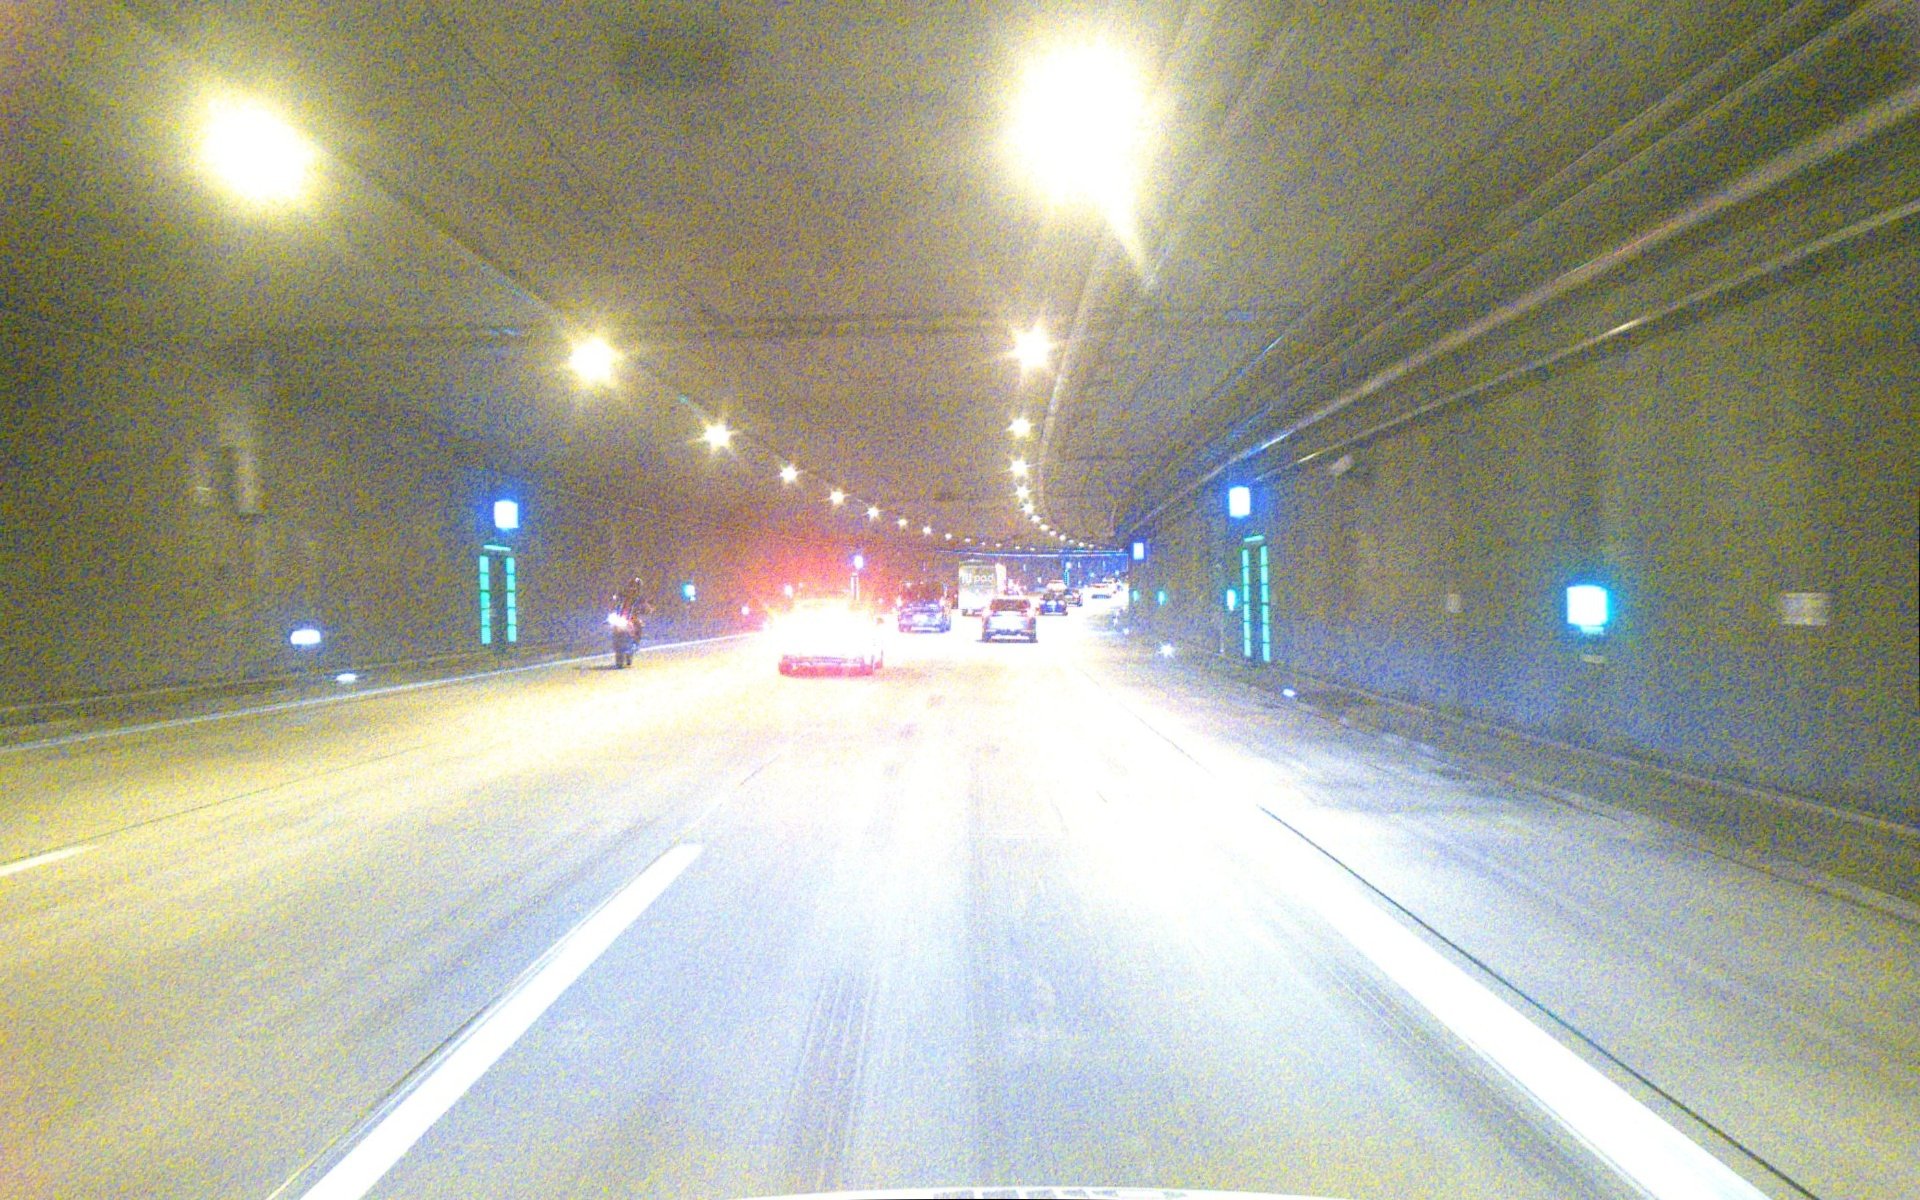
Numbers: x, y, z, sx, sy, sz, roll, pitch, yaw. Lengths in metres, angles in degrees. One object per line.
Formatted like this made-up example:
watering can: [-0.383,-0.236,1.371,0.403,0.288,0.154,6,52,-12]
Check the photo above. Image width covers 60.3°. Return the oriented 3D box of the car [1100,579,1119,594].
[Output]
car: [17.332,-1.609,191.449,1.951,1.660,4.003,1,0,8]

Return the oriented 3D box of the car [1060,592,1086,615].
car: [9.091,0.328,133.017,1.909,1.803,4.003,1,0,6]

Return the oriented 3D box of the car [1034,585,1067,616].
car: [5.759,0.032,104.589,1.817,1.887,4.003,1,0,7]

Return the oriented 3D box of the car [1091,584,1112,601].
car: [14.479,-0.731,169.411,1.889,1.671,4.003,1,0,8]

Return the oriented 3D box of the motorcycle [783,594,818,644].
motorcycle: [-4.890,0.569,50.504,0.909,1.459,2.958,1,0,-8]

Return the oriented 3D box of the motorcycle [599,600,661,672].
motorcycle: [-6.357,0.671,31.962,0.669,1.319,2.399,0,0,1]

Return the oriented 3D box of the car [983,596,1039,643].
car: [1.697,0.648,54.491,1.706,1.490,3.872,1,-1,4]

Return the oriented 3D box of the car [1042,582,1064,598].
car: [10.336,-1.131,184.313,1.889,1.671,4.003,0,0,12]

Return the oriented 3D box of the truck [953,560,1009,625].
truck: [1.347,-0.440,101.015,2.975,3.737,7.396,1,0,4]

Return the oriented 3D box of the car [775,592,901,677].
car: [-2.286,0.607,32.237,1.666,1.443,5.064,0,1,5]

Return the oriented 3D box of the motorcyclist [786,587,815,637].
motorcyclist: [-4.875,0.371,50.528,0.791,1.473,1.862,1,-1,-8]

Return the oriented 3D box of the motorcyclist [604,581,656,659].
motorcyclist: [-6.388,0.391,32.039,0.761,1.478,1.069,1,-1,1]

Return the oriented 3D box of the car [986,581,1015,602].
car: [3.211,-0.696,131.281,1.951,1.660,4.003,1,1,7]

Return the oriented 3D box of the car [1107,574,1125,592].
car: [19.456,-2.101,205.931,1.951,2.049,4.003,1,0,9]

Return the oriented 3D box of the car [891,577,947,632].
car: [-1.549,0.154,64.354,1.869,1.978,3.874,0,2,3]

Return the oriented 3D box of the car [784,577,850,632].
car: [-5.557,0.161,64.757,1.951,2.049,4.002,1,0,4]

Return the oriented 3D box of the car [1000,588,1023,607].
car: [4.720,-0.231,150.493,1.890,1.671,4.002,1,0,5]
